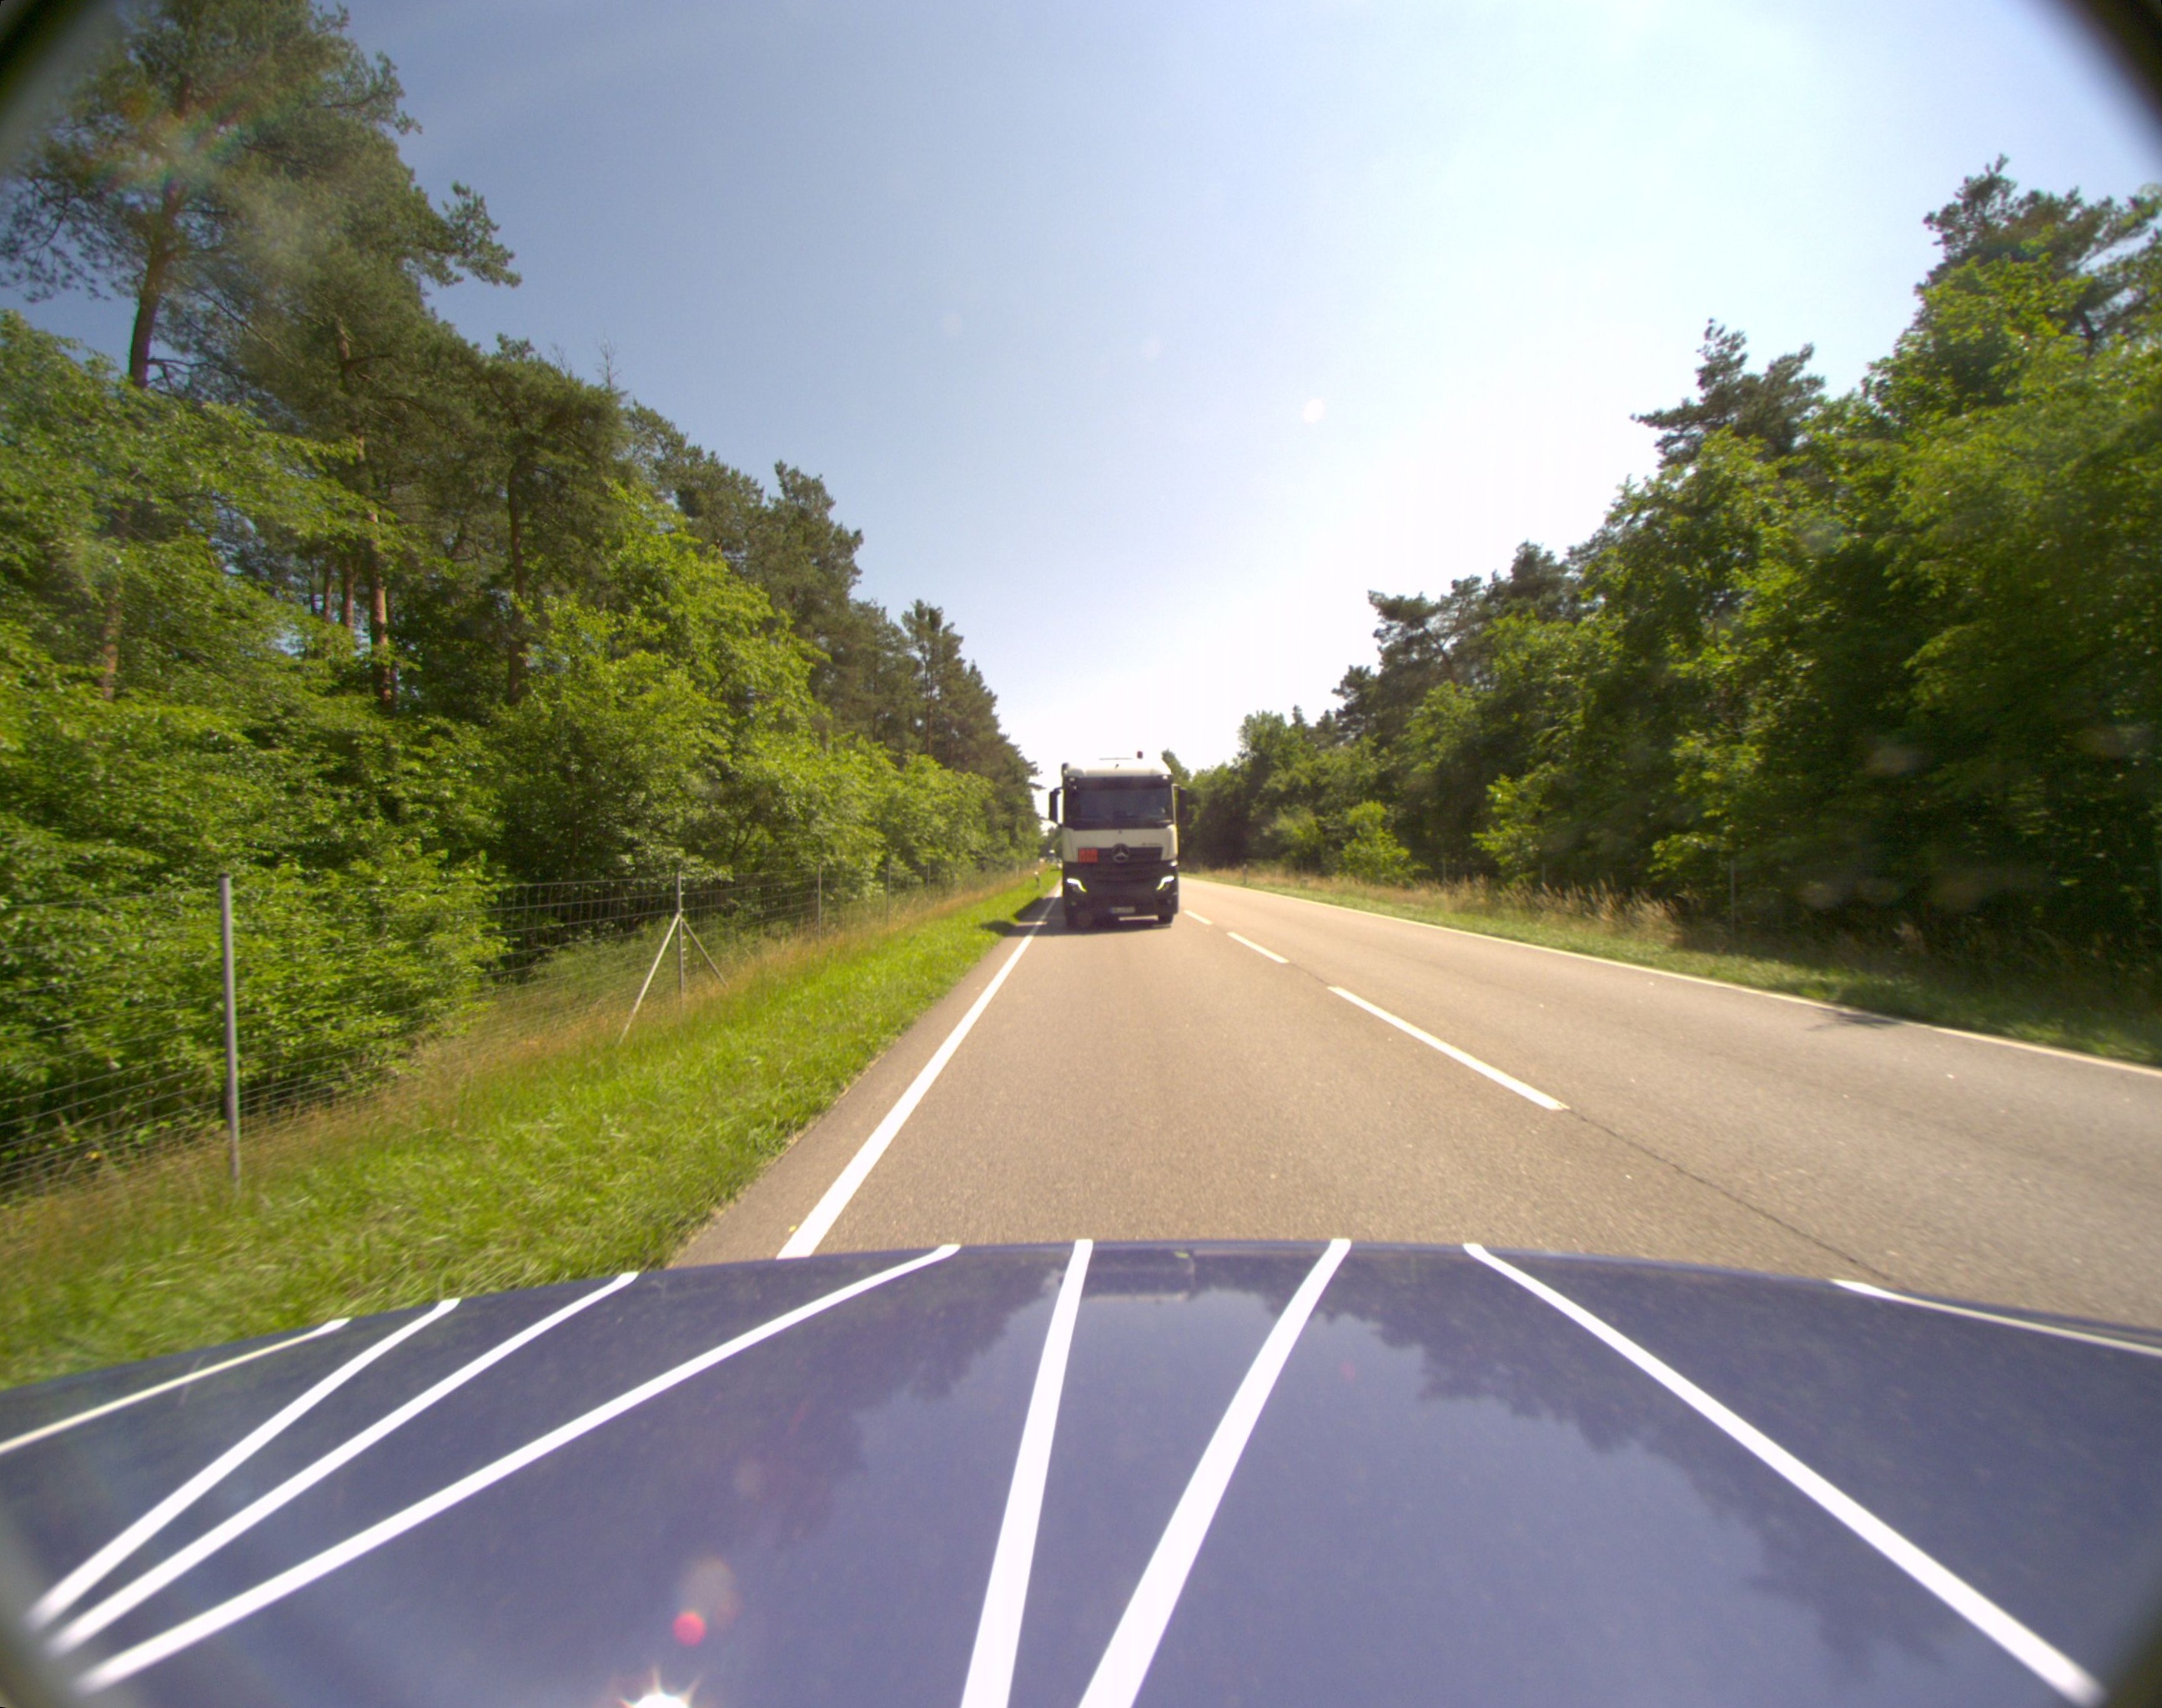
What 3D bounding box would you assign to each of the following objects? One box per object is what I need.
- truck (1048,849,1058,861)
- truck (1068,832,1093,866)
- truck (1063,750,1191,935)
[{"bbox_3d":[-8.949,0.381,242.148,2.495,3.619,6.100,-1,0,-6],"label":"truck"},{"bbox_3d":[-0.055,-0.559,84.821,2.494,3.619,6.103,-2,0,0],"label":"truck"},{"bbox_3d":[0.923,-0.215,18.829,2.435,3.672,6.456,-3,0,0],"label":"truck"}]
